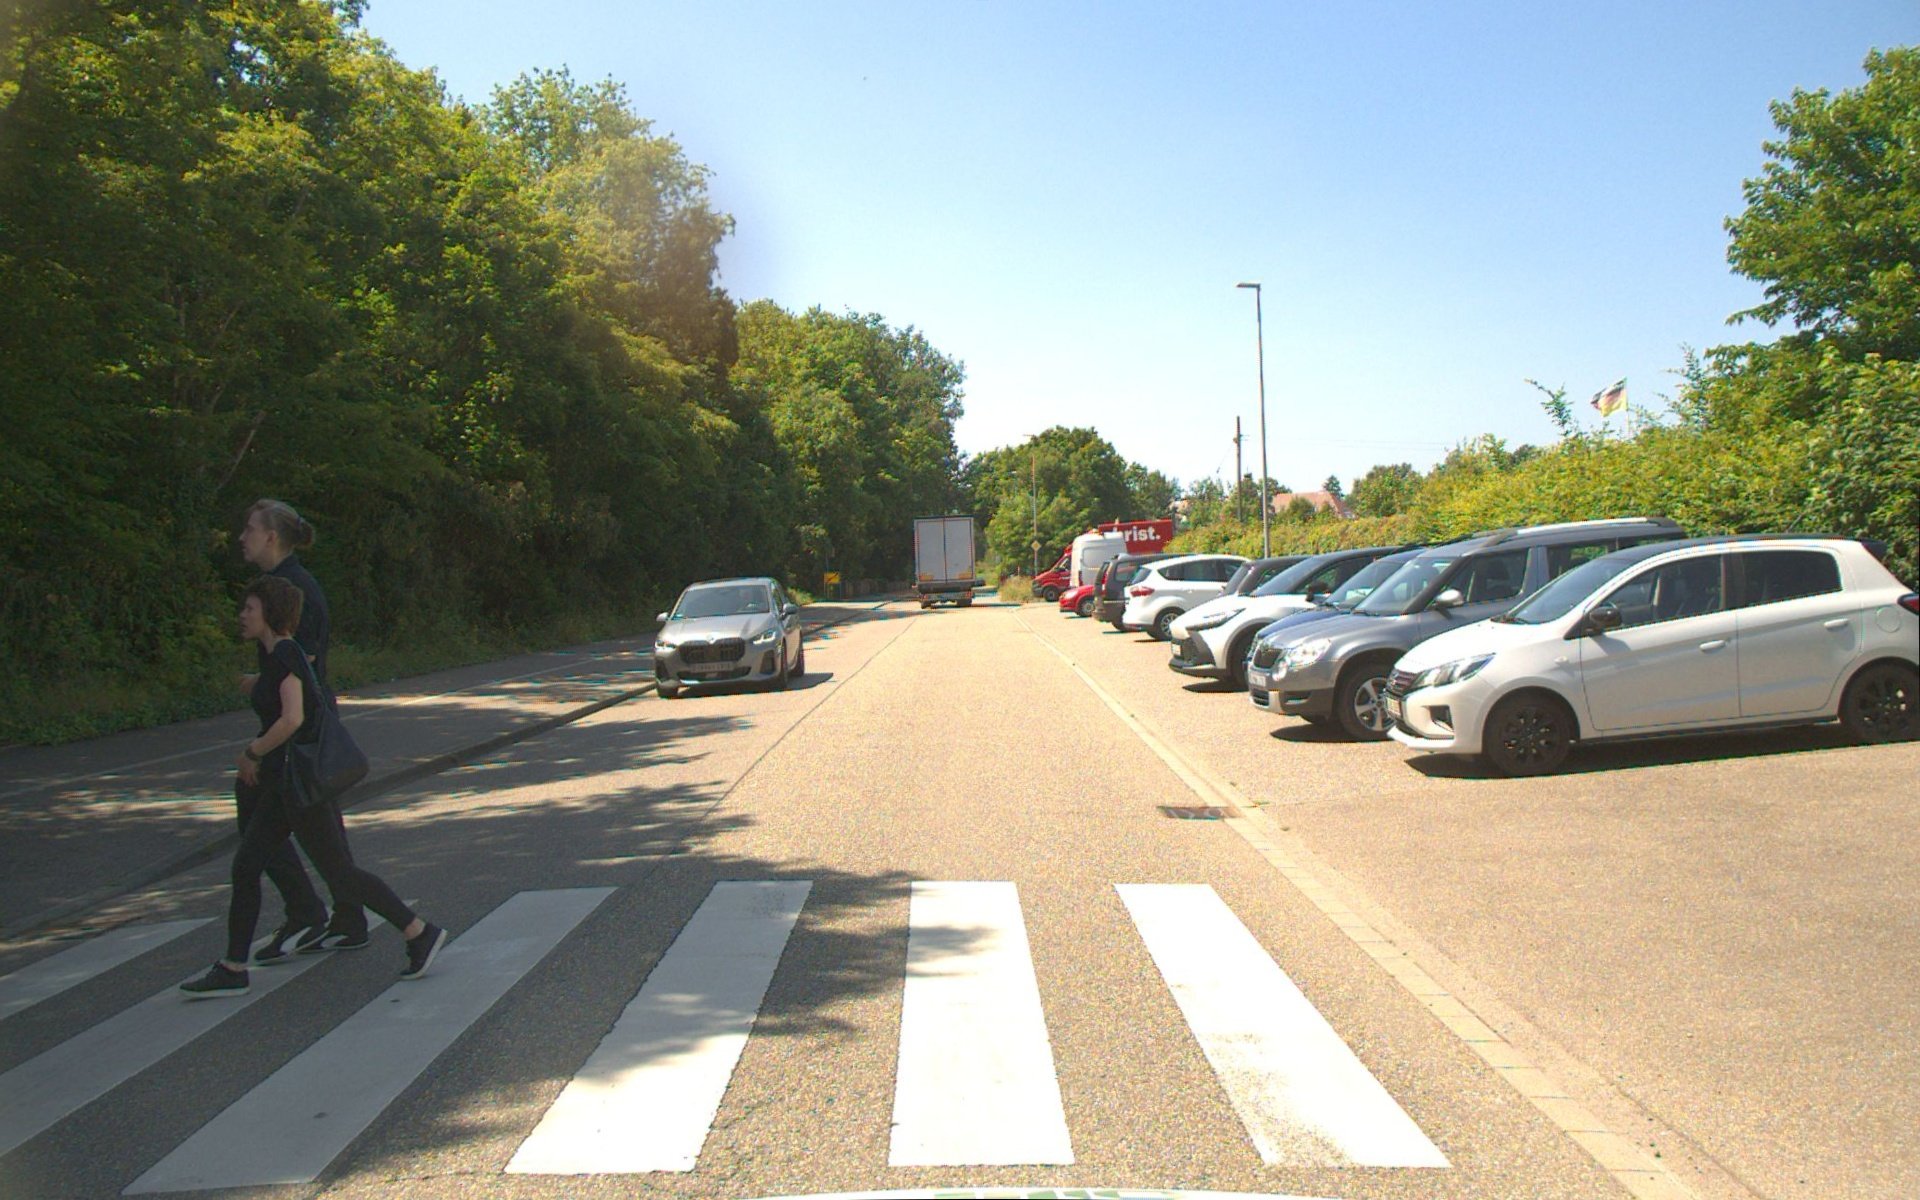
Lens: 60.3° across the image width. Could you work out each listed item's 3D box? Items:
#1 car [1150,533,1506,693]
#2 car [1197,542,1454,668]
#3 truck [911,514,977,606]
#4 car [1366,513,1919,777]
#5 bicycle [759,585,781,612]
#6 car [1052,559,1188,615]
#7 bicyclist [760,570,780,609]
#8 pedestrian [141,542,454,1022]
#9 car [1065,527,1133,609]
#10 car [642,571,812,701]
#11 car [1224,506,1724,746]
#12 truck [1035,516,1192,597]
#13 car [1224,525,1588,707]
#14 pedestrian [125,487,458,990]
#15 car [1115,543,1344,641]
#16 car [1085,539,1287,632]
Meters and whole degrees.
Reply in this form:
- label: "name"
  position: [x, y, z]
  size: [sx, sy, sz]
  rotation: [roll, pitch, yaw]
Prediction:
- label: "car"
  position: [4.540, 0.133, 20.743]
  size: [3.887, 1.549, 1.862]
  rotation: [-6, 1, -6]
- label: "car"
  position: [5.185, 0.050, 23.761]
  size: [3.317, 1.529, 1.589]
  rotation: [-4, 1, 3]
- label: "truck"
  position: [-0.591, -1.773, 75.861]
  size: [2.677, 3.811, 13.247]
  rotation: [-1, 1, 1]
- label: "car"
  position: [4.987, 0.288, 12.057]
  size: [3.613, 1.475, 1.611]
  rotation: [-5, 1, 3]
- label: "bicycle"
  position: [-7.851, -0.080, 68.355]
  size: [0.549, 1.045, 1.840]
  rotation: [-2, 1, 4]
- label: "car"
  position: [5.026, -0.417, 52.285]
  size: [3.974, 1.458, 1.835]
  rotation: [-4, 1, -3]
- label: "bicyclist"
  position: [-7.860, -0.449, 68.360]
  size: [0.635, 1.592, 0.837]
  rotation: [-2, 1, 4]
- label: "pedestrian"
  position: [-2.482, 0.642, 6.312]
  size: [0.878, 1.639, 0.778]
  rotation: [-4, 0, -12]
- label: "car"
  position: [5.216, -1.230, 62.789]
  size: [1.914, 2.780, 7.169]
  rotation: [-4, 1, 1]
- label: "car"
  position: [-3.312, 0.444, 24.284]
  size: [1.853, 1.558, 4.196]
  rotation: [-6, 1, -1]
- label: "car"
  position: [4.558, 0.195, 14.962]
  size: [3.885, 1.668, 1.662]
  rotation: [-6, 1, -6]
- label: "truck"
  position: [7.152, -2.007, 76.862]
  size: [6.984, 3.500, 2.332]
  rotation: [-1, 2, 10]
- label: "car"
  position: [4.756, 0.143, 17.894]
  size: [3.386, 1.553, 1.538]
  rotation: [-6, 1, -5]
- label: "pedestrian"
  position: [-2.732, 0.529, 6.883]
  size: [1.064, 1.897, 0.781]
  rotation: [-3, 0, -12]
- label: "car"
  position: [5.360, -0.173, 33.215]
  size: [4.191, 1.605, 1.765]
  rotation: [-4, 1, -2]
- label: "car"
  position: [5.328, -0.337, 39.425]
  size: [4.366, 1.836, 1.951]
  rotation: [-4, 0, -4]
